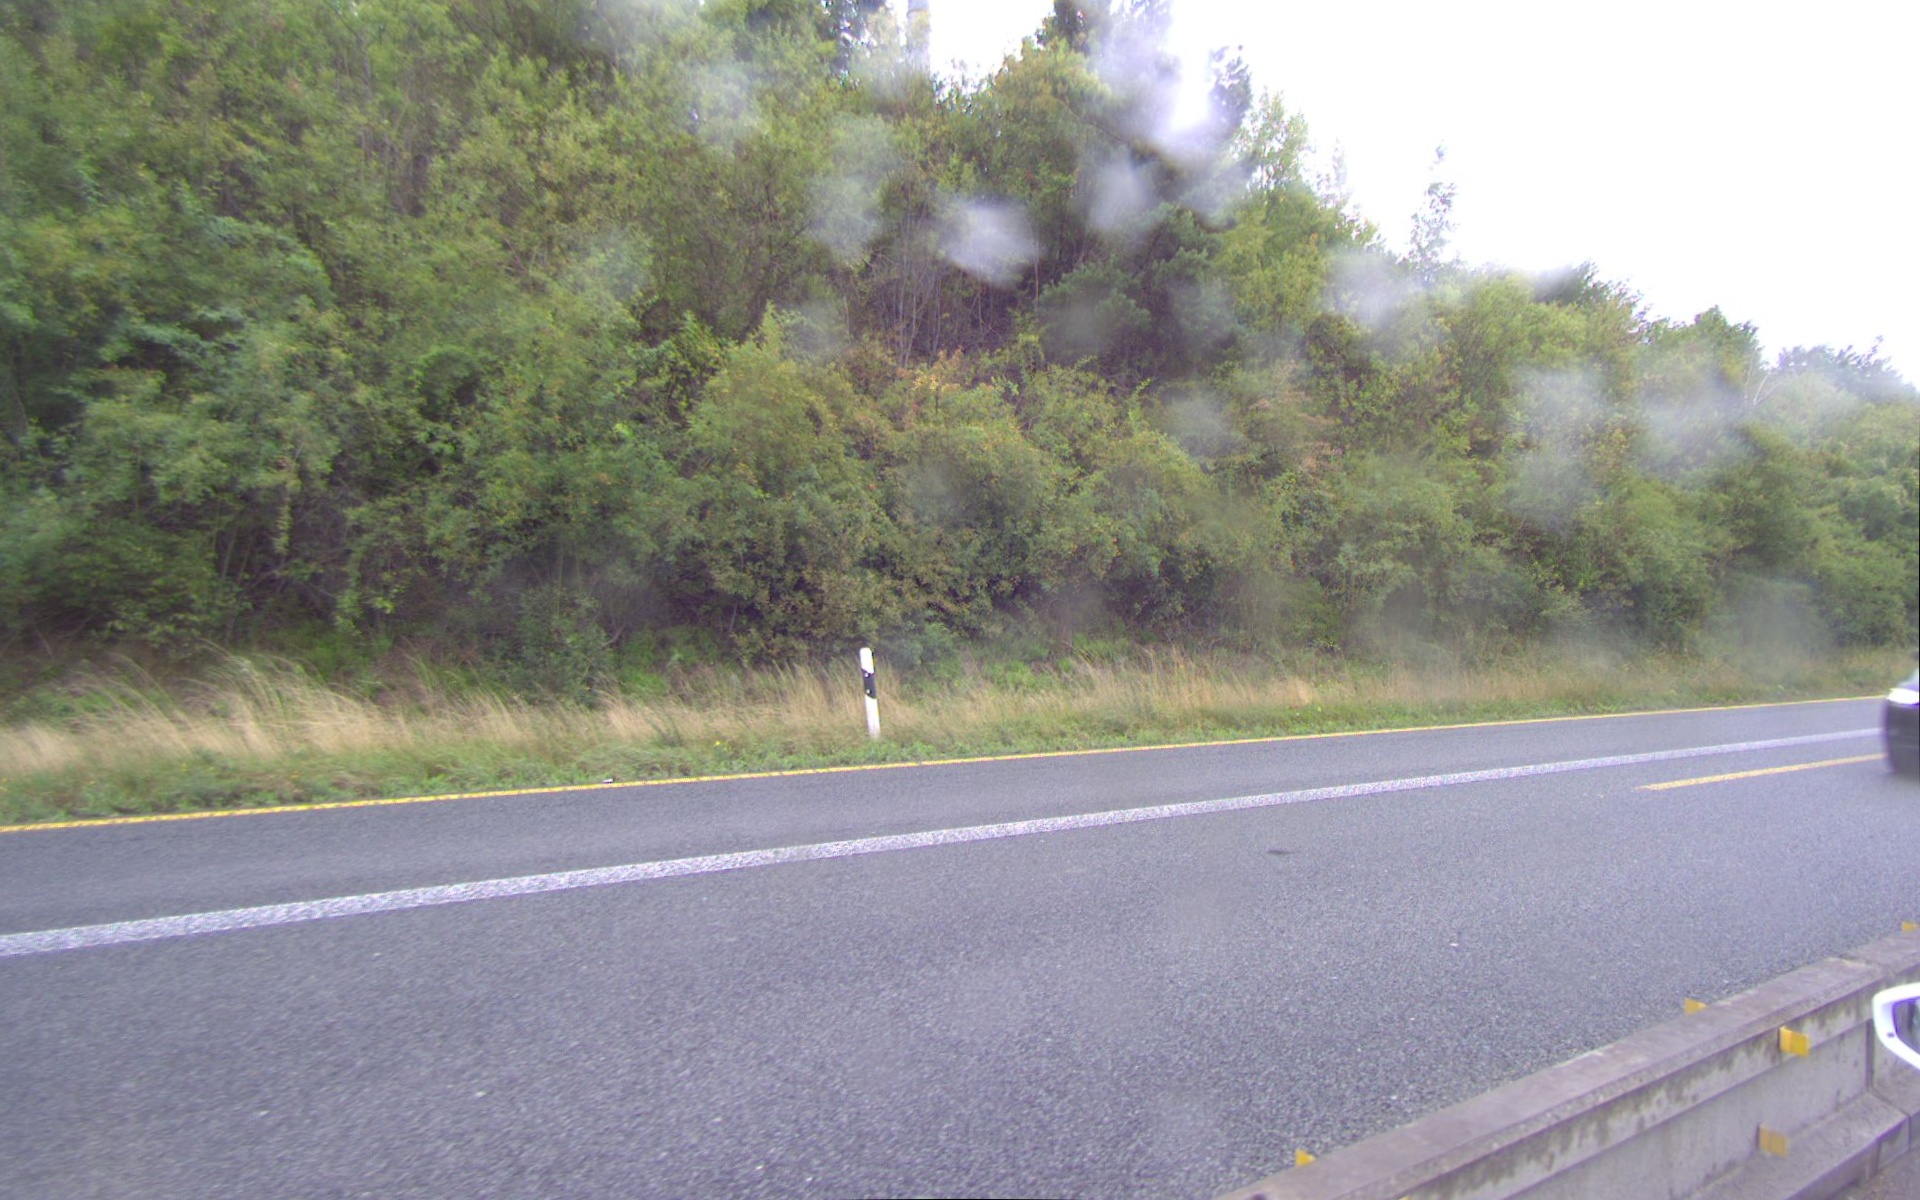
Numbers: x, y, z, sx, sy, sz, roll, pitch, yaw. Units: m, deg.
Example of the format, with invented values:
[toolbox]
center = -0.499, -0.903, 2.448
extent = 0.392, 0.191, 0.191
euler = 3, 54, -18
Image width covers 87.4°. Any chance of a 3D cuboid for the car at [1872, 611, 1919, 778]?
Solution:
[car]
center = 11.080, 0.961, 10.066
extent = 3.944, 1.580, 1.801
euler = 2, 0, -31
